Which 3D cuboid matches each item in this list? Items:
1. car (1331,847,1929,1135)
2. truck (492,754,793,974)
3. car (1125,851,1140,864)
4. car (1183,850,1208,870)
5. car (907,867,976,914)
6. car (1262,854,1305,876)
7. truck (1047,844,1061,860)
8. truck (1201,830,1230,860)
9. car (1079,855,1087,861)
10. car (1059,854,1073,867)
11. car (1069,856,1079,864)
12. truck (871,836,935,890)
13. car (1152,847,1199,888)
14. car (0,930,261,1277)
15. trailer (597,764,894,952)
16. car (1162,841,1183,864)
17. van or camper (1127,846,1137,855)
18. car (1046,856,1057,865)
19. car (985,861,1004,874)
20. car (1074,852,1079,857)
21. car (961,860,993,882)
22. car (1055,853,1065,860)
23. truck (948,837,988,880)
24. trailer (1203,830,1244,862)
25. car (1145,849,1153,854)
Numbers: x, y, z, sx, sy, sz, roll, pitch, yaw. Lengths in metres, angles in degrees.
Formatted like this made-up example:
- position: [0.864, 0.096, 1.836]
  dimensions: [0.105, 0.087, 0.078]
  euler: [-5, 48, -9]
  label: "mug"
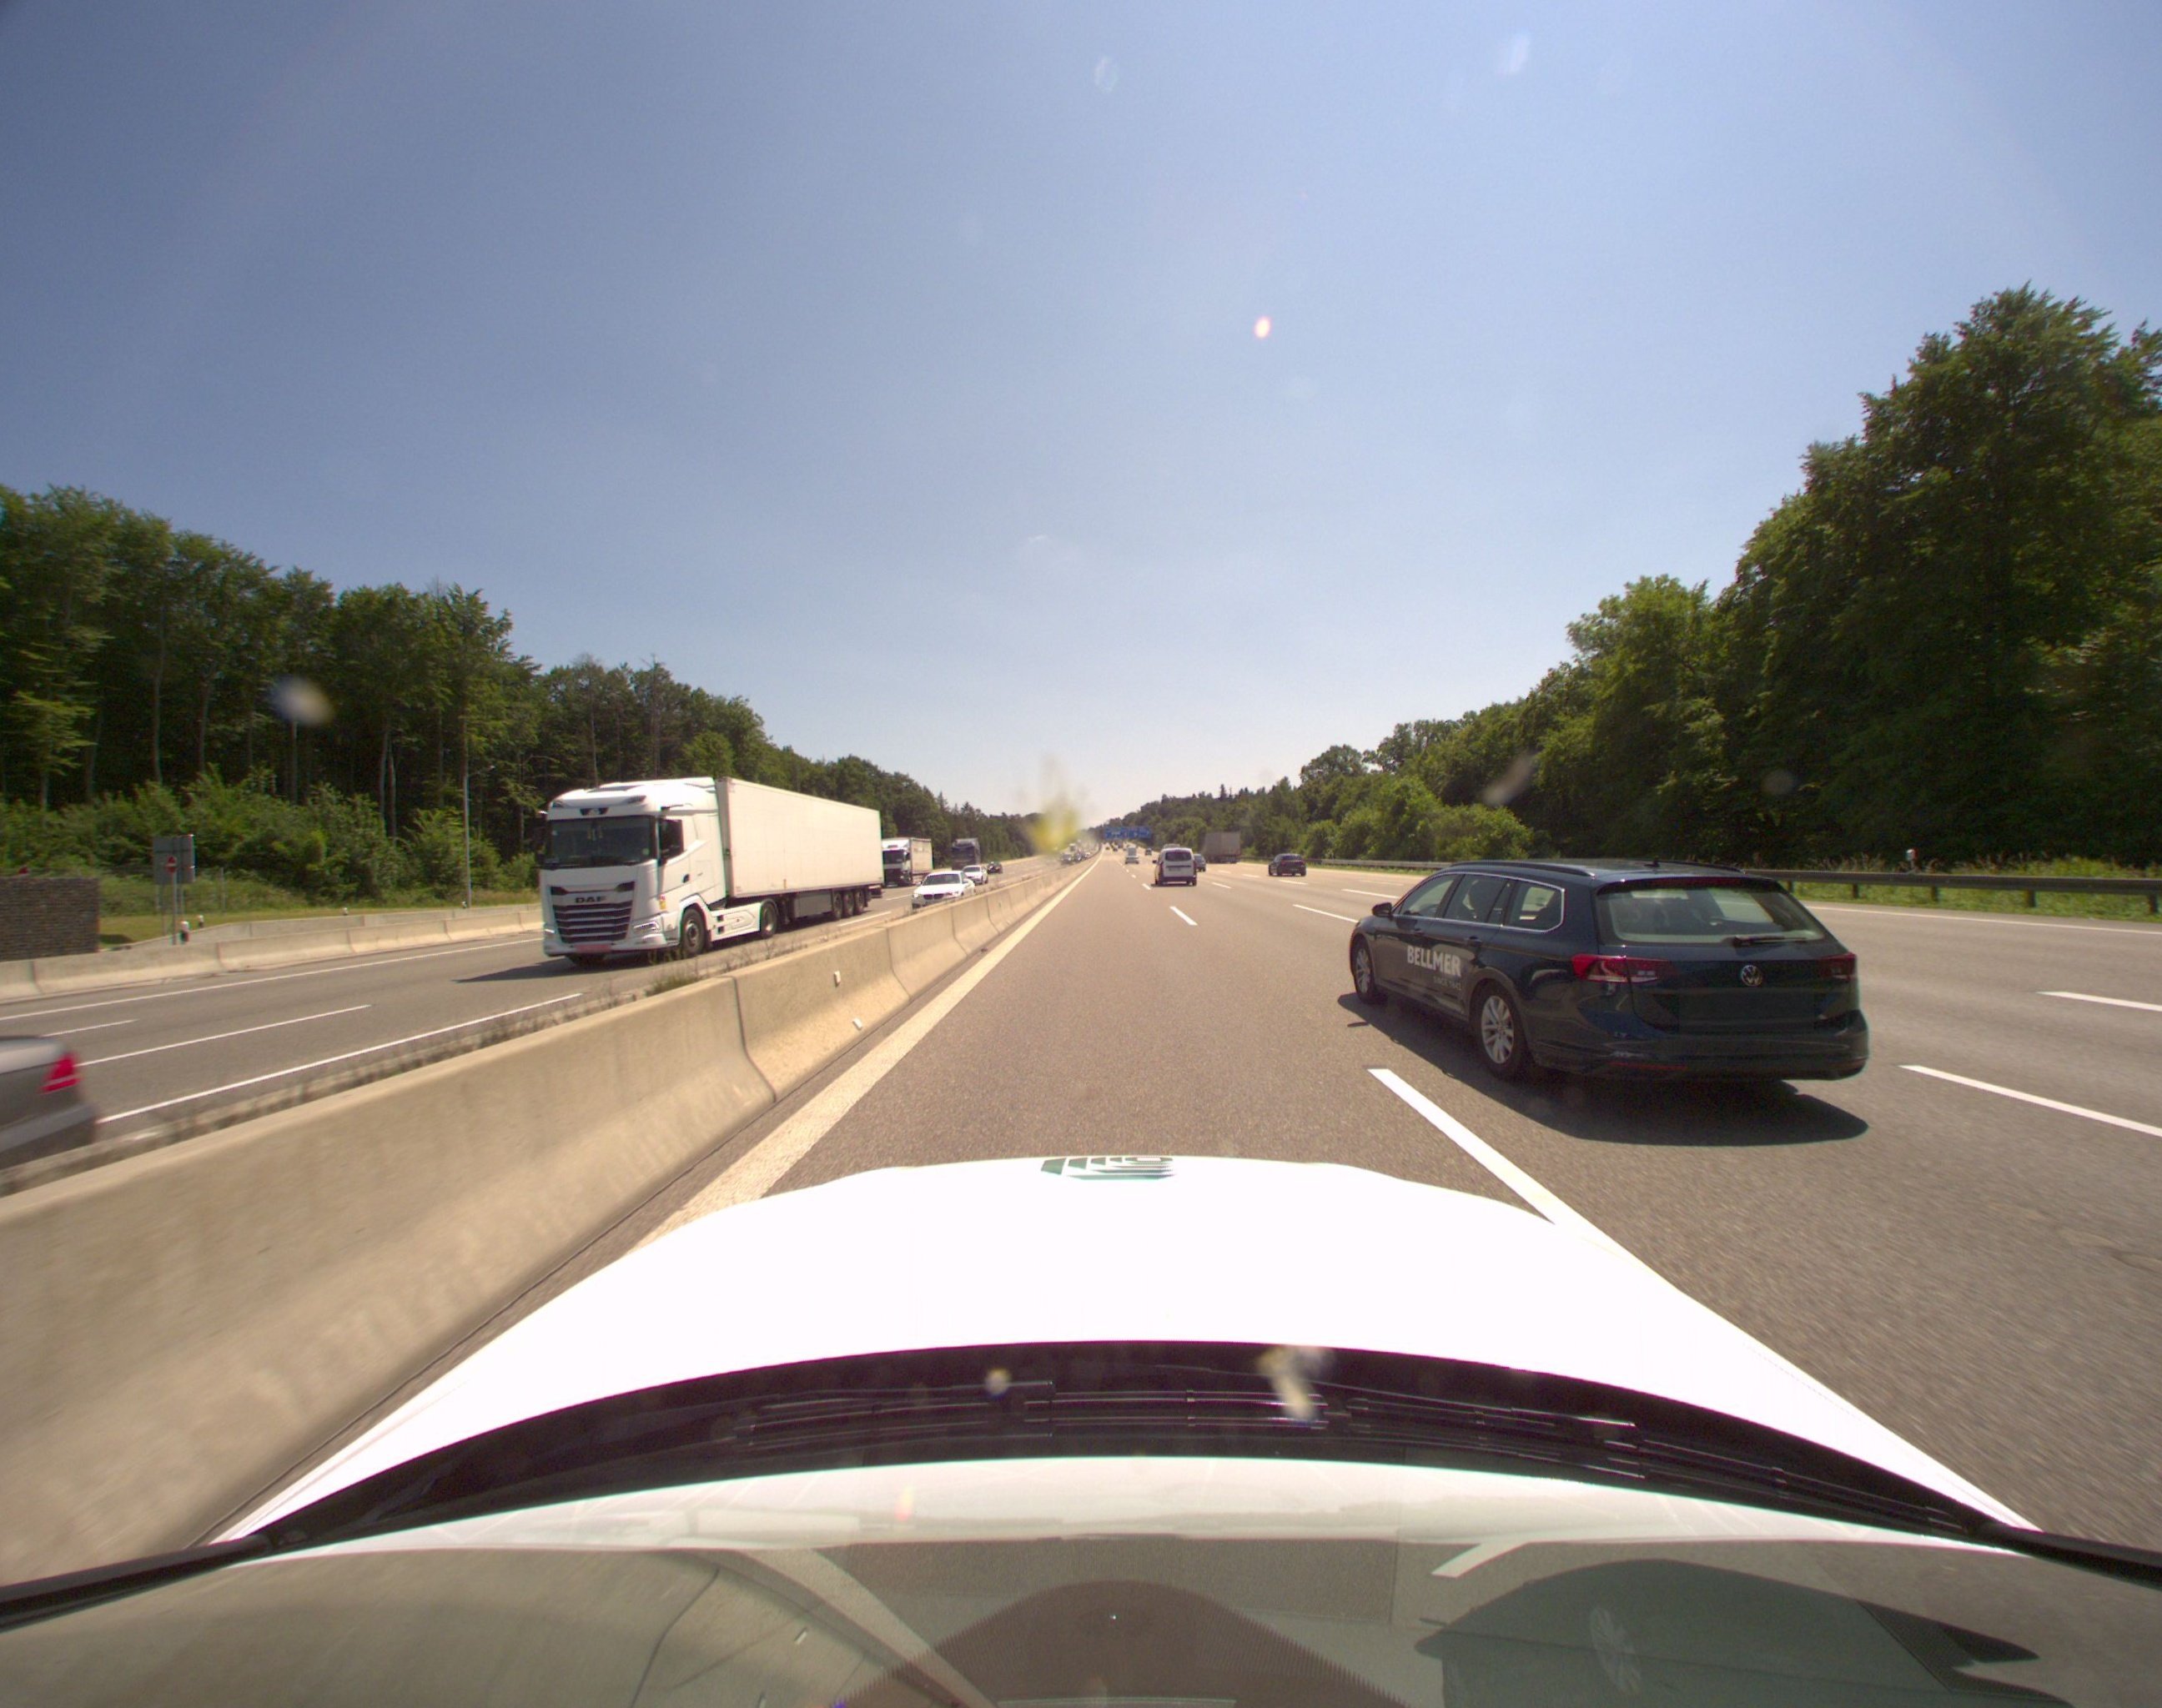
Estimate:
- position: [3.600, 0.707, 6.707]
  dimensions: [1.723, 1.447, 4.964]
  euler: [-2, 0, 2]
  label: "car"
- position: [-9.774, 0.208, 19.337]
  dimensions: [3.036, 4.136, 6.951]
  euler: [-3, 0, 1]
  label: "truck"
- position: [7.172, 0.496, 113.060]
  dimensions: [1.836, 1.629, 4.555]
  euler: [-3, 0, 2]
  label: "car"
- position: [9.304, 0.495, 66.373]
  dimensions: [1.498, 1.500, 3.649]
  euler: [-3, -1, 1]
  label: "car"
- position: [-4.963, 1.253, 29.490]
  dimensions: [1.742, 1.457, 4.156]
  euler: [-3, 0, 0]
  label: "car"
- position: [12.729, 0.671, 51.333]
  dimensions: [1.665, 1.273, 4.290]
  euler: [0, 0, 0]
  label: "car"
- position: [-7.047, -0.475, 212.383]
  dimensions: [2.848, 4.012, 9.472]
  euler: [-3, 0, 2]
  label: "truck"
- position: [18.902, -1.311, 115.095]
  dimensions: [3.242, 4.106, 5.990]
  euler: [-1, 1, 2]
  label: "truck"
- position: [0.466, 1.071, 205.940]
  dimensions: [1.906, 1.464, 4.365]
  euler: [-3, -1, 1]
  label: "car"
- position: [-2.483, 1.065, 133.384]
  dimensions: [1.891, 1.953, 5.659]
  euler: [-3, 0, 2]
  label: "car"
- position: [-1.430, 1.231, 168.167]
  dimensions: [1.906, 1.464, 4.589]
  euler: [-3, -1, 2]
  label: "car"
- position: [-15.205, 0.750, 70.597]
  dimensions: [2.825, 4.197, 10.597]
  euler: [-3, 0, 1]
  label: "truck"
- position: [4.589, 0.619, 39.951]
  dimensions: [1.852, 1.825, 4.614]
  euler: [-3, 0, 2]
  label: "car"
- position: [-6.003, 1.248, 2.349]
  dimensions: [1.987, 1.487, 5.135]
  euler: [-3, 0, 0]
  label: "car"
- position: [-9.540, 0.087, 26.367]
  dimensions: [3.012, 4.225, 14.472]
  euler: [-4, 0, 2]
  label: "trailer"
- position: [11.286, -0.202, 100.903]
  dimensions: [2.135, 2.652, 5.712]
  euler: [-2, 1, 2]
  label: "car"
- position: [14.985, -0.986, 238.419]
  dimensions: [2.635, 2.538, 6.505]
  euler: [-3, 0, 2]
  label: "van or camper"
- position: [-5.404, 1.160, 150.396]
  dimensions: [1.754, 1.464, 4.841]
  euler: [-3, 0, 2]
  label: "car"
- position: [-10.667, 1.656, 100.155]
  dimensions: [1.747, 1.486, 3.815]
  euler: [-4, 0, 1]
  label: "car"
- position: [-1.421, 0.198, 259.797]
  dimensions: [1.697, 1.427, 4.613]
  euler: [-3, 0, 0]
  label: "car"
- position: [-7.655, 1.224, 60.396]
  dimensions: [1.717, 1.506, 4.460]
  euler: [-3, 0, 0]
  label: "car"
- position: [-4.606, 0.630, 182.418]
  dimensions: [1.906, 1.464, 4.589]
  euler: [-3, -1, 2]
  label: "car"
- position: [-10.942, 0.381, 79.439]
  dimensions: [2.568, 3.841, 7.020]
  euler: [-3, 0, 2]
  label: "truck"
- position: [18.767, -1.126, 108.371]
  dimensions: [3.276, 3.930, 13.895]
  euler: [-1, 1, 1]
  label: "trailer"
- position: [18.631, -0.644, 224.005]
  dimensions: [1.829, 1.338, 3.644]
  euler: [-3, 0, 2]
  label: "car"
